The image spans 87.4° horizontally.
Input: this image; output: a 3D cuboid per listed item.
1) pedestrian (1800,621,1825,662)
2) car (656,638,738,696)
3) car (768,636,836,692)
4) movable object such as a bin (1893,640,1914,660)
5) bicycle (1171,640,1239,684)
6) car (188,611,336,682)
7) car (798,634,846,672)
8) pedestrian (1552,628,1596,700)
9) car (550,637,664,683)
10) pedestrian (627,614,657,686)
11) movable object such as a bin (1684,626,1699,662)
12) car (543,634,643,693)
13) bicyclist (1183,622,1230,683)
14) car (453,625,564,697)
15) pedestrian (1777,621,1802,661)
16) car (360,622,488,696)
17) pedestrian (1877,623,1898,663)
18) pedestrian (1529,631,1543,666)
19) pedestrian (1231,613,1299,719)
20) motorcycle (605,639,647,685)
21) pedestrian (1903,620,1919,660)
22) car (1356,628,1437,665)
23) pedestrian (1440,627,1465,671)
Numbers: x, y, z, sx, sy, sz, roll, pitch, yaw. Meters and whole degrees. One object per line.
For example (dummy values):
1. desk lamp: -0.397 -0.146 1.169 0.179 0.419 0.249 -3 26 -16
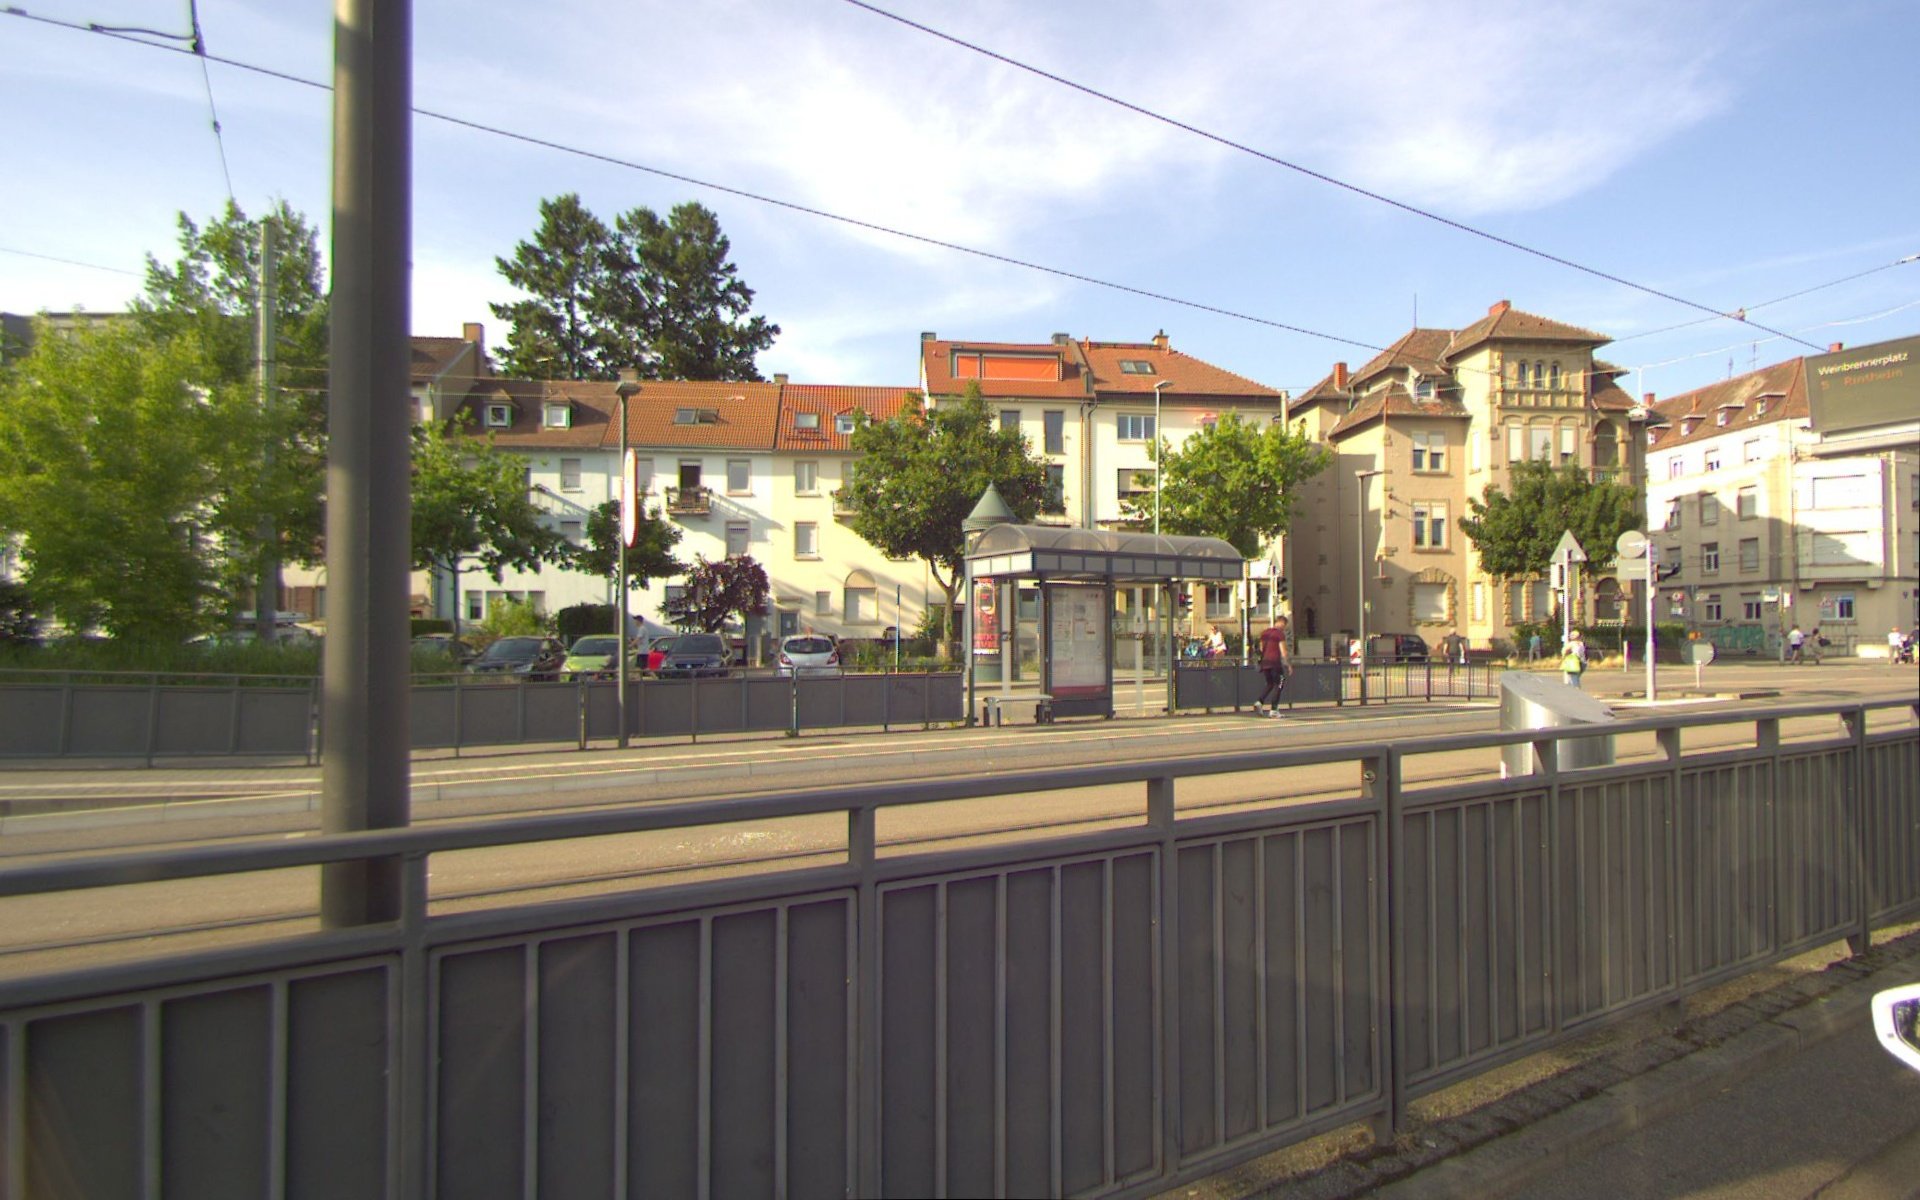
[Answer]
1. pedestrian: 39.808 1.941 46.911 0.642 1.872 0.670 1 -2 -32
2. car: -7.075 1.757 27.346 1.740 1.447 3.995 0 -2 -9
3. car: -4.379 1.723 27.974 1.740 1.447 3.995 0 -2 -9
4. movable object such as a bin: 46.075 2.444 49.037 0.655 0.959 0.580 1 -2 -31
5. bicycle: 6.851 1.716 28.031 1.842 1.125 0.722 1 1 -30
6. car: -18.970 1.247 27.531 1.822 1.777 3.993 0 -2 -11
7. car: -6.043 2.299 44.360 1.821 1.578 3.998 0 -2 -4
8. pedestrian: 14.006 1.448 22.910 0.708 1.610 0.586 1 -2 -34
9. car: -12.190 2.057 34.866 3.444 1.544 1.567 0 -2 -7
10. pedestrian: -7.564 1.180 23.873 0.661 1.677 0.370 0 -2 -20
11. movable object such as a bin: 36.815 2.200 50.551 0.259 1.732 2.379 -1 -2 29
12. car: -9.737 1.638 26.939 1.740 1.447 3.995 0 -2 -9
13. bicyclist: 6.887 1.456 28.042 1.058 1.646 0.702 0 1 -29
14. car: -11.980 1.579 26.911 1.822 1.777 3.993 0 -2 -11
15. pedestrian: 39.435 1.949 47.747 0.616 1.905 0.659 0 -2 -15
16. car: -13.893 1.497 26.292 1.822 1.777 3.993 0 -2 -11
17. pedestrian: 45.040 2.089 48.790 0.620 1.905 0.581 1 -2 -32
18. pedestrian: 25.686 2.169 44.784 0.382 1.535 0.405 0 -2 -3
19. pedestrian: 5.013 1.068 16.517 0.874 1.692 0.666 1 -2 -33
20. motorcycle: -7.903 1.450 23.767 0.907 1.065 0.499 1 -2 -21
21. pedestrian: 45.843 1.919 48.277 0.620 1.906 0.581 -4 1 -32
22. car: 20.381 2.139 47.090 1.742 1.653 3.998 0 -2 -5
23. pedestrian: 18.777 1.872 38.302 0.592 1.673 0.681 0 -1 -3
